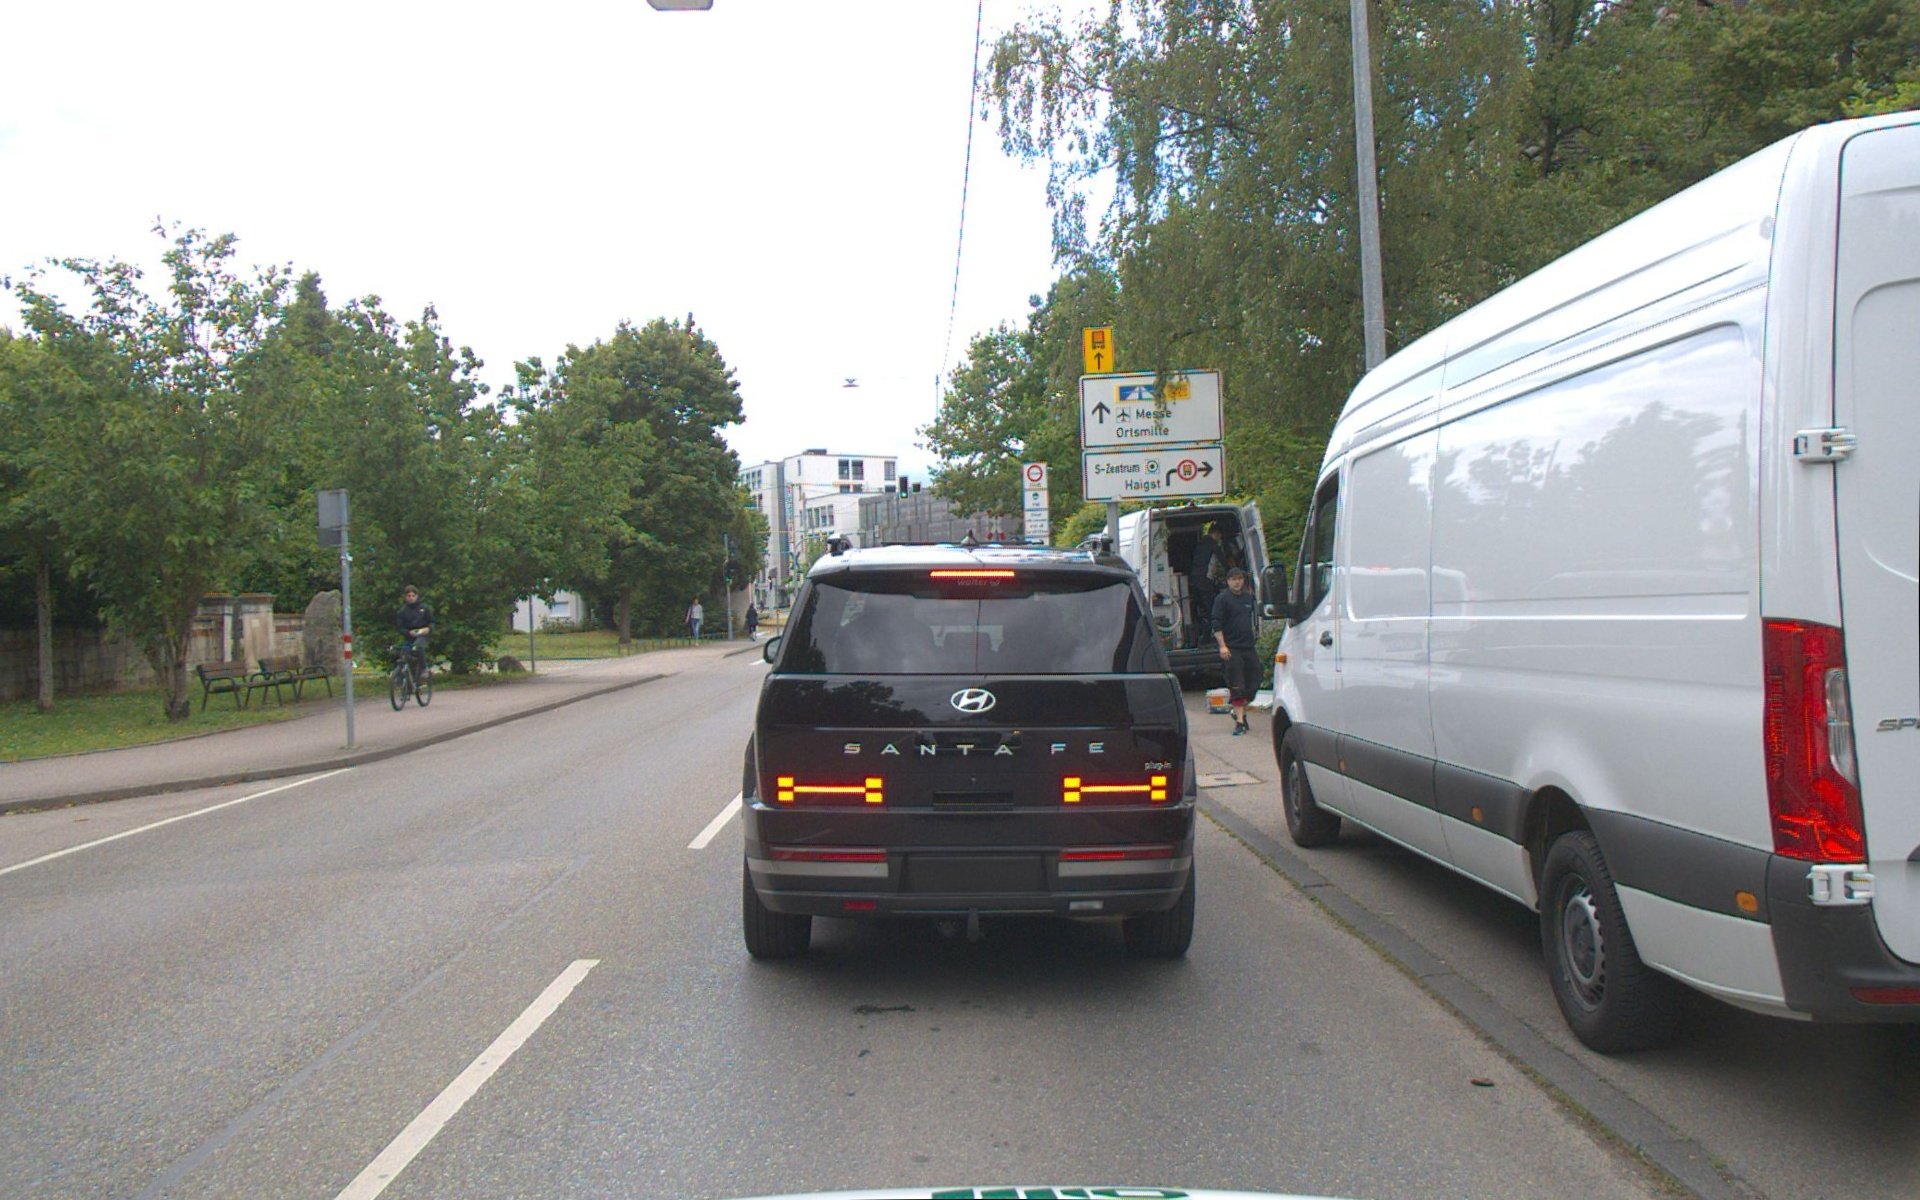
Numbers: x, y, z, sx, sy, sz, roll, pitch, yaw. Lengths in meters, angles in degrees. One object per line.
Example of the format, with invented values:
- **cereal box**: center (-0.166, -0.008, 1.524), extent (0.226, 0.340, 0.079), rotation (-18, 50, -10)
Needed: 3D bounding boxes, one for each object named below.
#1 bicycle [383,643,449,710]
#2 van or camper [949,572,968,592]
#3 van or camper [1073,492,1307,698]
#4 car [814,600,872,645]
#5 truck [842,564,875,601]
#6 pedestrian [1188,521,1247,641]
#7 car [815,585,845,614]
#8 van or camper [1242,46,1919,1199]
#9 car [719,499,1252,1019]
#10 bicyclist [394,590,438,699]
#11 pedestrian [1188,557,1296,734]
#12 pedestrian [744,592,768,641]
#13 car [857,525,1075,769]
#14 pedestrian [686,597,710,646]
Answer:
- **bicycle**: center (-8.666, 1.206, 26.414), extent (0.485, 0.981, 1.748), rotation (1, 0, -1)
- **van or camper**: center (-0.162, -1.890, 172.489), extent (1.760, 2.033, 3.820), rotation (1, 0, -4)
- **van or camper**: center (3.288, -0.020, 25.301), extent (2.294, 2.537, 6.600), rotation (-5, -1, -2)
- **car**: center (-4.105, 0.781, 58.589), extent (1.721, 1.427, 4.413), rotation (-4, 0, -1)
- **truck**: center (-11.541, -1.887, 186.985), extent (3.048, 3.926, 9.607), rotation (-2, 0, -7)
- **pedestrian**: center (3.731, -0.272, 24.030), extent (0.721, 1.672, 0.802), rotation (-3, -1, 5)
- **car**: center (-11.345, -0.043, 144.039), extent (2.288, 2.356, 4.950), rotation (-2, 0, -7)
- **van or camper**: center (2.874, 0.037, 7.020), extent (1.951, 2.670, 6.543), rotation (-5, 0, -1)
- **car**: center (0.067, 0.573, 7.849), extent (1.858, 1.807, 3.993), rotation (1, 0, -1)
- **bicyclist**: center (-8.656, 0.701, 26.338), extent (0.477, 1.713, 0.588), rotation (1, -1, -1)
- **pedestrian**: center (2.886, 0.450, 16.919), extent (0.746, 1.751, 0.780), rotation (1, -1, -41)
- **pedestrian**: center (-8.695, 0.694, 70.472), extent (0.812, 2.049, 1.047), rotation (1, -1, 1)
- **car**: center (0.026, 0.415, 16.314), extent (1.858, 2.077, 3.993), rotation (1, 0, -1)
- **pedestrian**: center (-9.652, 0.772, 60.861), extent (0.751, 1.779, 0.904), rotation (0, 0, -2)
